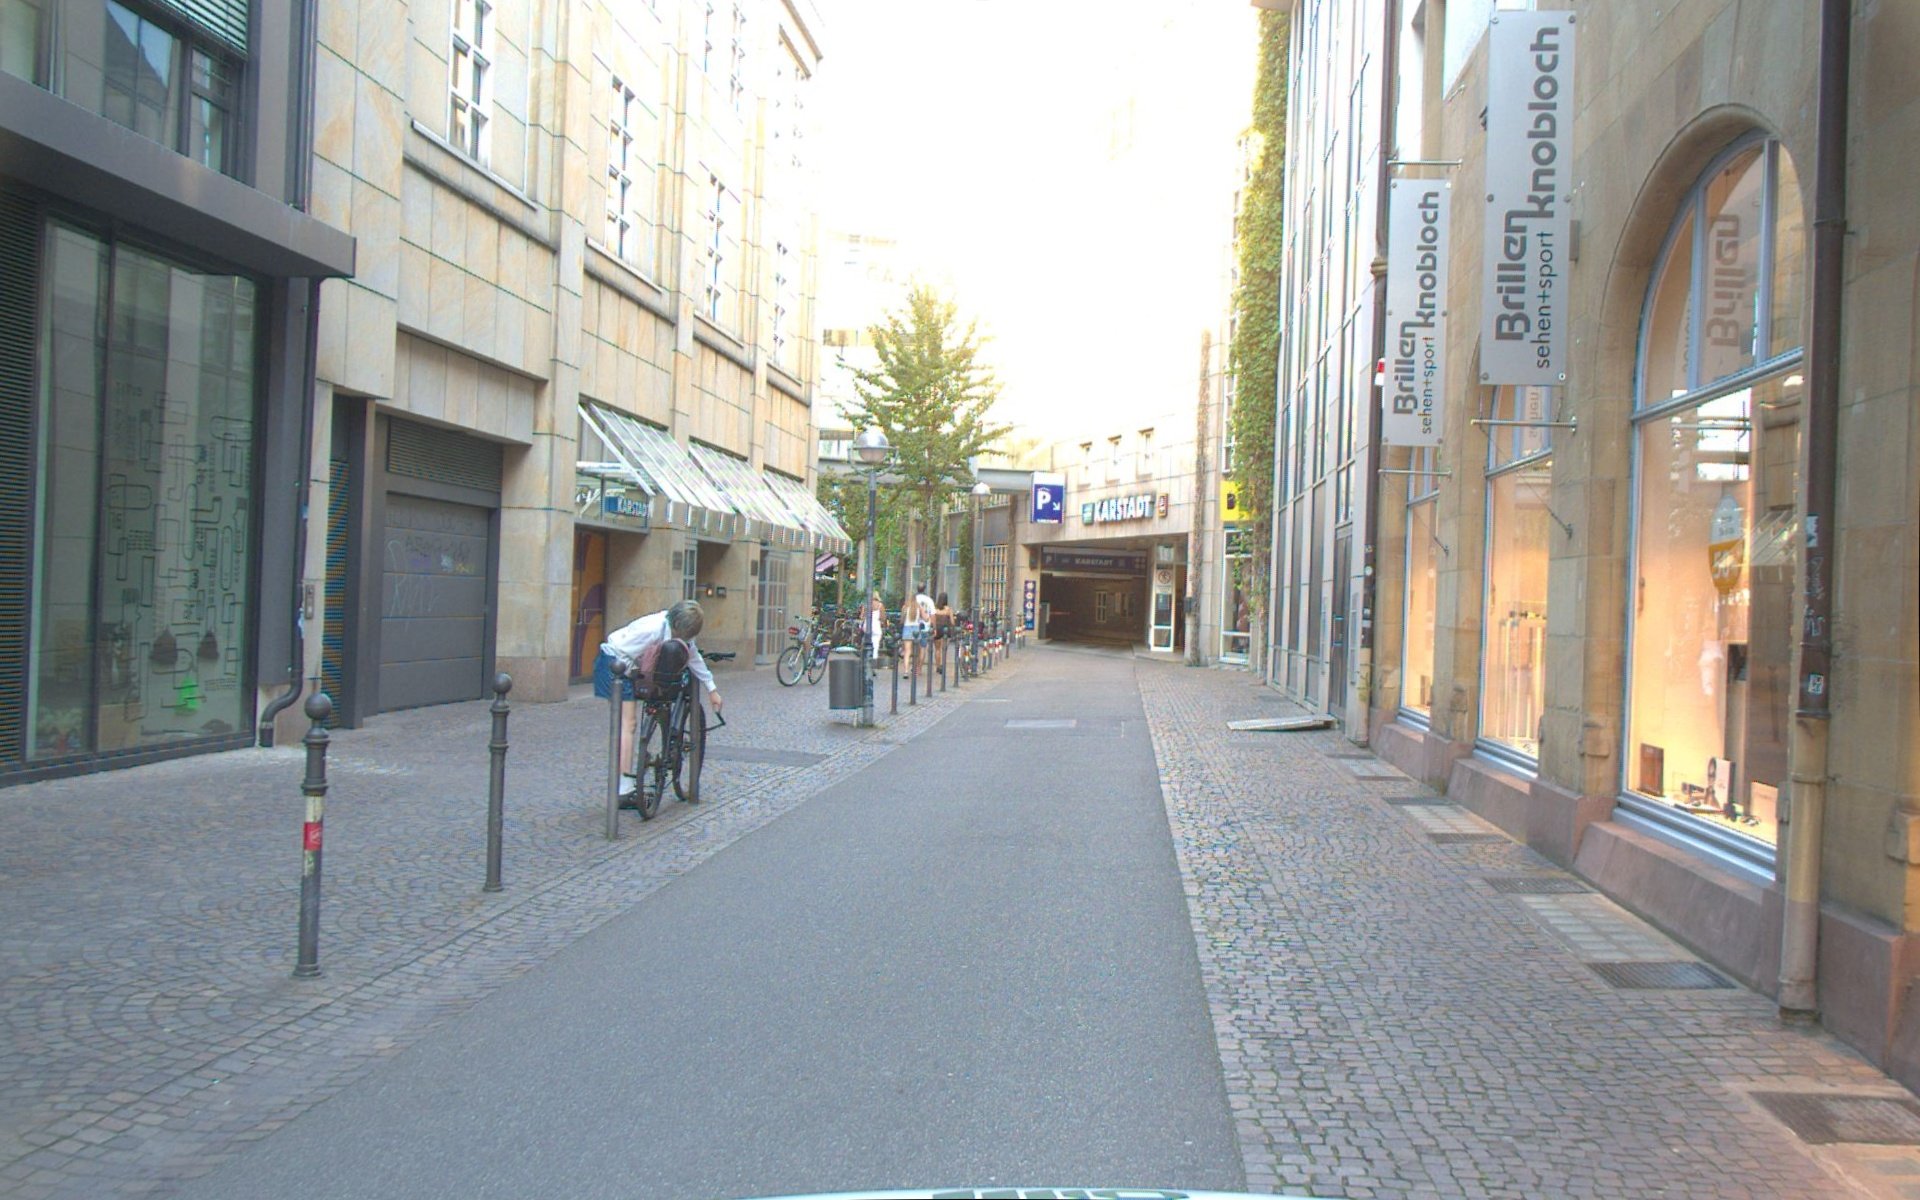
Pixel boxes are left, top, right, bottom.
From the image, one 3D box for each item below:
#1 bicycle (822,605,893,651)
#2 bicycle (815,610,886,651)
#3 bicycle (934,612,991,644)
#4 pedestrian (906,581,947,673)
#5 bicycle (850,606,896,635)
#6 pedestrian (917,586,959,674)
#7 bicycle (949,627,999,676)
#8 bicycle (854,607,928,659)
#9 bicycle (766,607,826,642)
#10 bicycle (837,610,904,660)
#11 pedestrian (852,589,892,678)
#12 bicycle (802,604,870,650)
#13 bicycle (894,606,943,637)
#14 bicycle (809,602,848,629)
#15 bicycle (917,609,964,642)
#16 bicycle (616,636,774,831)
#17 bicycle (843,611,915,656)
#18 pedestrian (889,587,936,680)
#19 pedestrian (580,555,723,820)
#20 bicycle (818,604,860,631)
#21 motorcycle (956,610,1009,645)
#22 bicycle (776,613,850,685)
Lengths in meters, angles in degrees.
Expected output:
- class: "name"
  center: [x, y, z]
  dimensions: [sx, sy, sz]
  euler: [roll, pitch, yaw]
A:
- class: "bicycle"
  center: [-2.747, 0.753, 44.382]
  dimensions: [1.843, 1.198, 0.531]
  euler: [1, 0, -18]
- class: "bicycle"
  center: [-2.976, 0.831, 44.934]
  dimensions: [1.864, 1.070, 0.531]
  euler: [1, 0, -18]
- class: "bicycle"
  center: [0.086, 0.927, 54.843]
  dimensions: [1.817, 0.999, 0.462]
  euler: [1, 0, -16]
- class: "pedestrian"
  center: [-0.679, 0.547, 33.858]
  dimensions: [0.726, 1.854, 0.878]
  euler: [1, 0, 4]
- class: "bicycle"
  center: [-3.461, 0.814, 66.111]
  dimensions: [1.744, 1.134, 0.540]
  euler: [1, 0, -16]
- class: "pedestrian"
  center: [-0.466, 0.636, 35.221]
  dimensions: [0.768, 1.826, 0.973]
  euler: [1, 0, 5]
- class: "bicycle"
  center: [0.300, 1.058, 34.494]
  dimensions: [0.483, 0.955, 1.659]
  euler: [3, 0, 20]
- class: "bicycle"
  center: [-1.719, 0.821, 41.154]
  dimensions: [1.738, 1.252, 0.531]
  euler: [1, 0, -18]
- class: "bicycle"
  center: [-5.093, 0.773, 51.362]
  dimensions: [1.796, 1.061, 0.531]
  euler: [1, 0, -18]
- class: "bicycle"
  center: [-2.309, 0.891, 42.489]
  dimensions: [1.628, 1.252, 0.531]
  euler: [1, 0, -18]
- class: "pedestrian"
  center: [-1.716, 0.640, 32.326]
  dimensions: [0.661, 1.693, 0.860]
  euler: [2, 0, 1]
- class: "bicycle"
  center: [-3.422, 0.736, 45.650]
  dimensions: [1.804, 1.246, 0.531]
  euler: [1, 0, -18]
- class: "bicycle"
  center: [-1.550, 0.807, 61.436]
  dimensions: [1.744, 1.134, 0.540]
  euler: [1, 0, -16]
- class: "bicycle"
  center: [-6.162, 0.728, 77.546]
  dimensions: [1.744, 1.211, 0.584]
  euler: [1, 0, -16]
- class: "bicycle"
  center: [-0.679, 0.872, 56.719]
  dimensions: [1.514, 1.067, 0.573]
  euler: [1, 0, -16]
- class: "bicycle"
  center: [-1.795, 0.868, 11.472]
  dimensions: [0.521, 1.174, 1.916]
  euler: [3, 0, 6]
- class: "bicycle"
  center: [-2.120, 0.873, 43.369]
  dimensions: [1.807, 1.142, 0.531]
  euler: [1, 0, -18]
- class: "pedestrian"
  center: [-0.917, 0.637, 32.219]
  dimensions: [0.789, 1.760, 0.949]
  euler: [2, 0, 4]
- class: "pedestrian"
  center: [-2.134, 0.587, 11.486]
  dimensions: [0.752, 1.748, 0.592]
  euler: [3, 0, 5]
- class: "bicycle"
  center: [-5.273, 0.760, 72.069]
  dimensions: [1.742, 1.134, 0.541]
  euler: [1, 0, -13]
- class: "motorcycle"
  center: [0.712, 0.879, 53.124]
  dimensions: [1.635, 1.069, 0.462]
  euler: [1, 0, -16]
- class: "bicycle"
  center: [-2.461, 0.810, 27.862]
  dimensions: [0.511, 1.158, 1.764]
  euler: [1, 0, 21]
